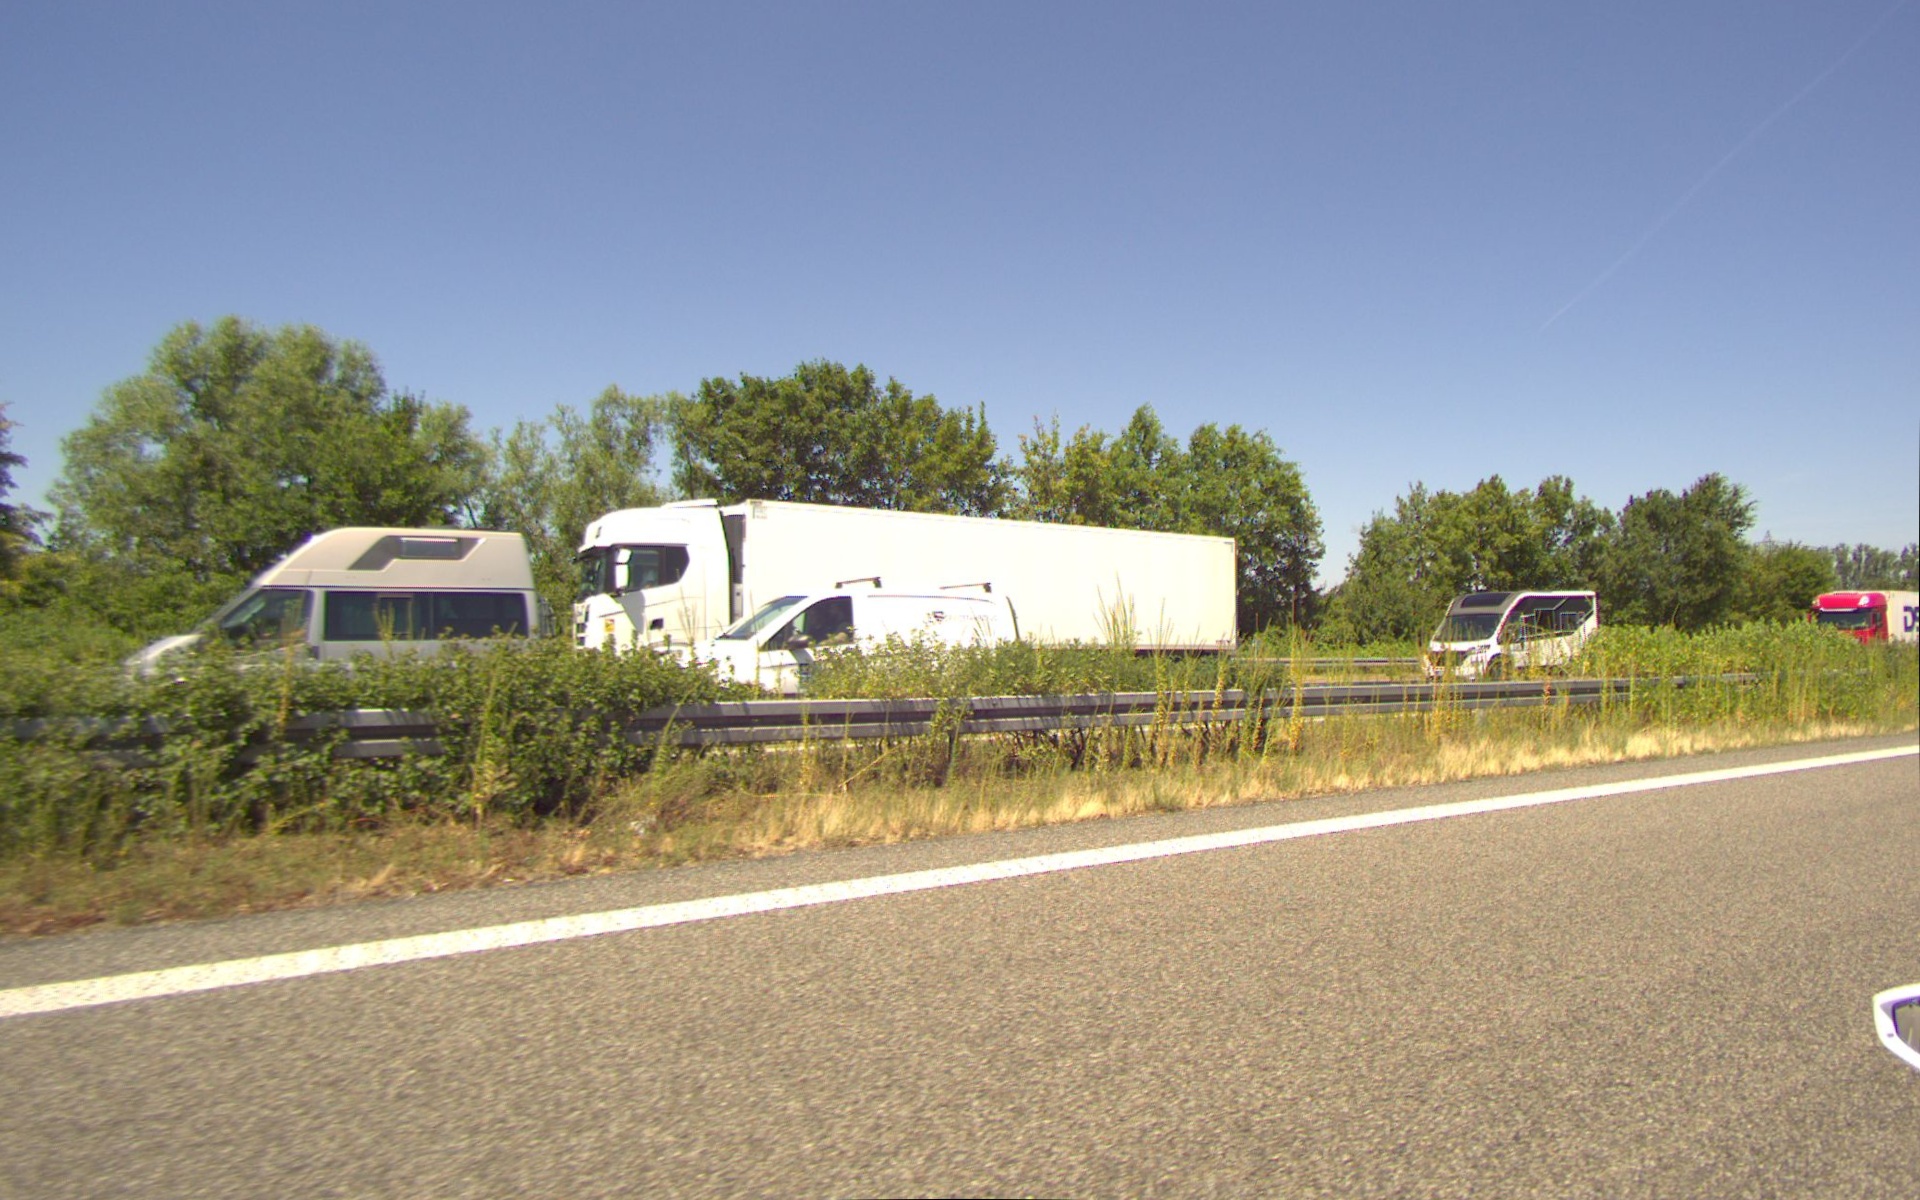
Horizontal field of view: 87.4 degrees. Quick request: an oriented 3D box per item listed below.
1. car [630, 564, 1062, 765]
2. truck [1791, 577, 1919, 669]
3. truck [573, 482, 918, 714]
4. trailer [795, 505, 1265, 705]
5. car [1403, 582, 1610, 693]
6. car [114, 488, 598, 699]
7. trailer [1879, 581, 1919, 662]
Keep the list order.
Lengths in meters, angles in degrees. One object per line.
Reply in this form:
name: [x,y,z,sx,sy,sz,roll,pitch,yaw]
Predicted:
car: [-1.345,0.747,12.941,5.219,2.148,1.915,1,-1,-32]
truck: [47.017,1.121,51.639,10.499,4.368,3.057,0,1,-30]
truck: [-4.446,-0.034,21.053,6.450,4.167,3.056,0,1,-31]
trailer: [2.147,0.151,24.968,12.090,4.093,3.032,0,0,-31]
car: [15.622,1.064,28.594,6.535,2.859,2.316,1,-2,-32]
car: [-7.916,0.005,13.736,5.239,2.394,2.198,1,-2,-32]
trailer: [55.428,1.178,56.517,8.926,4.383,3.032,0,0,-31]
